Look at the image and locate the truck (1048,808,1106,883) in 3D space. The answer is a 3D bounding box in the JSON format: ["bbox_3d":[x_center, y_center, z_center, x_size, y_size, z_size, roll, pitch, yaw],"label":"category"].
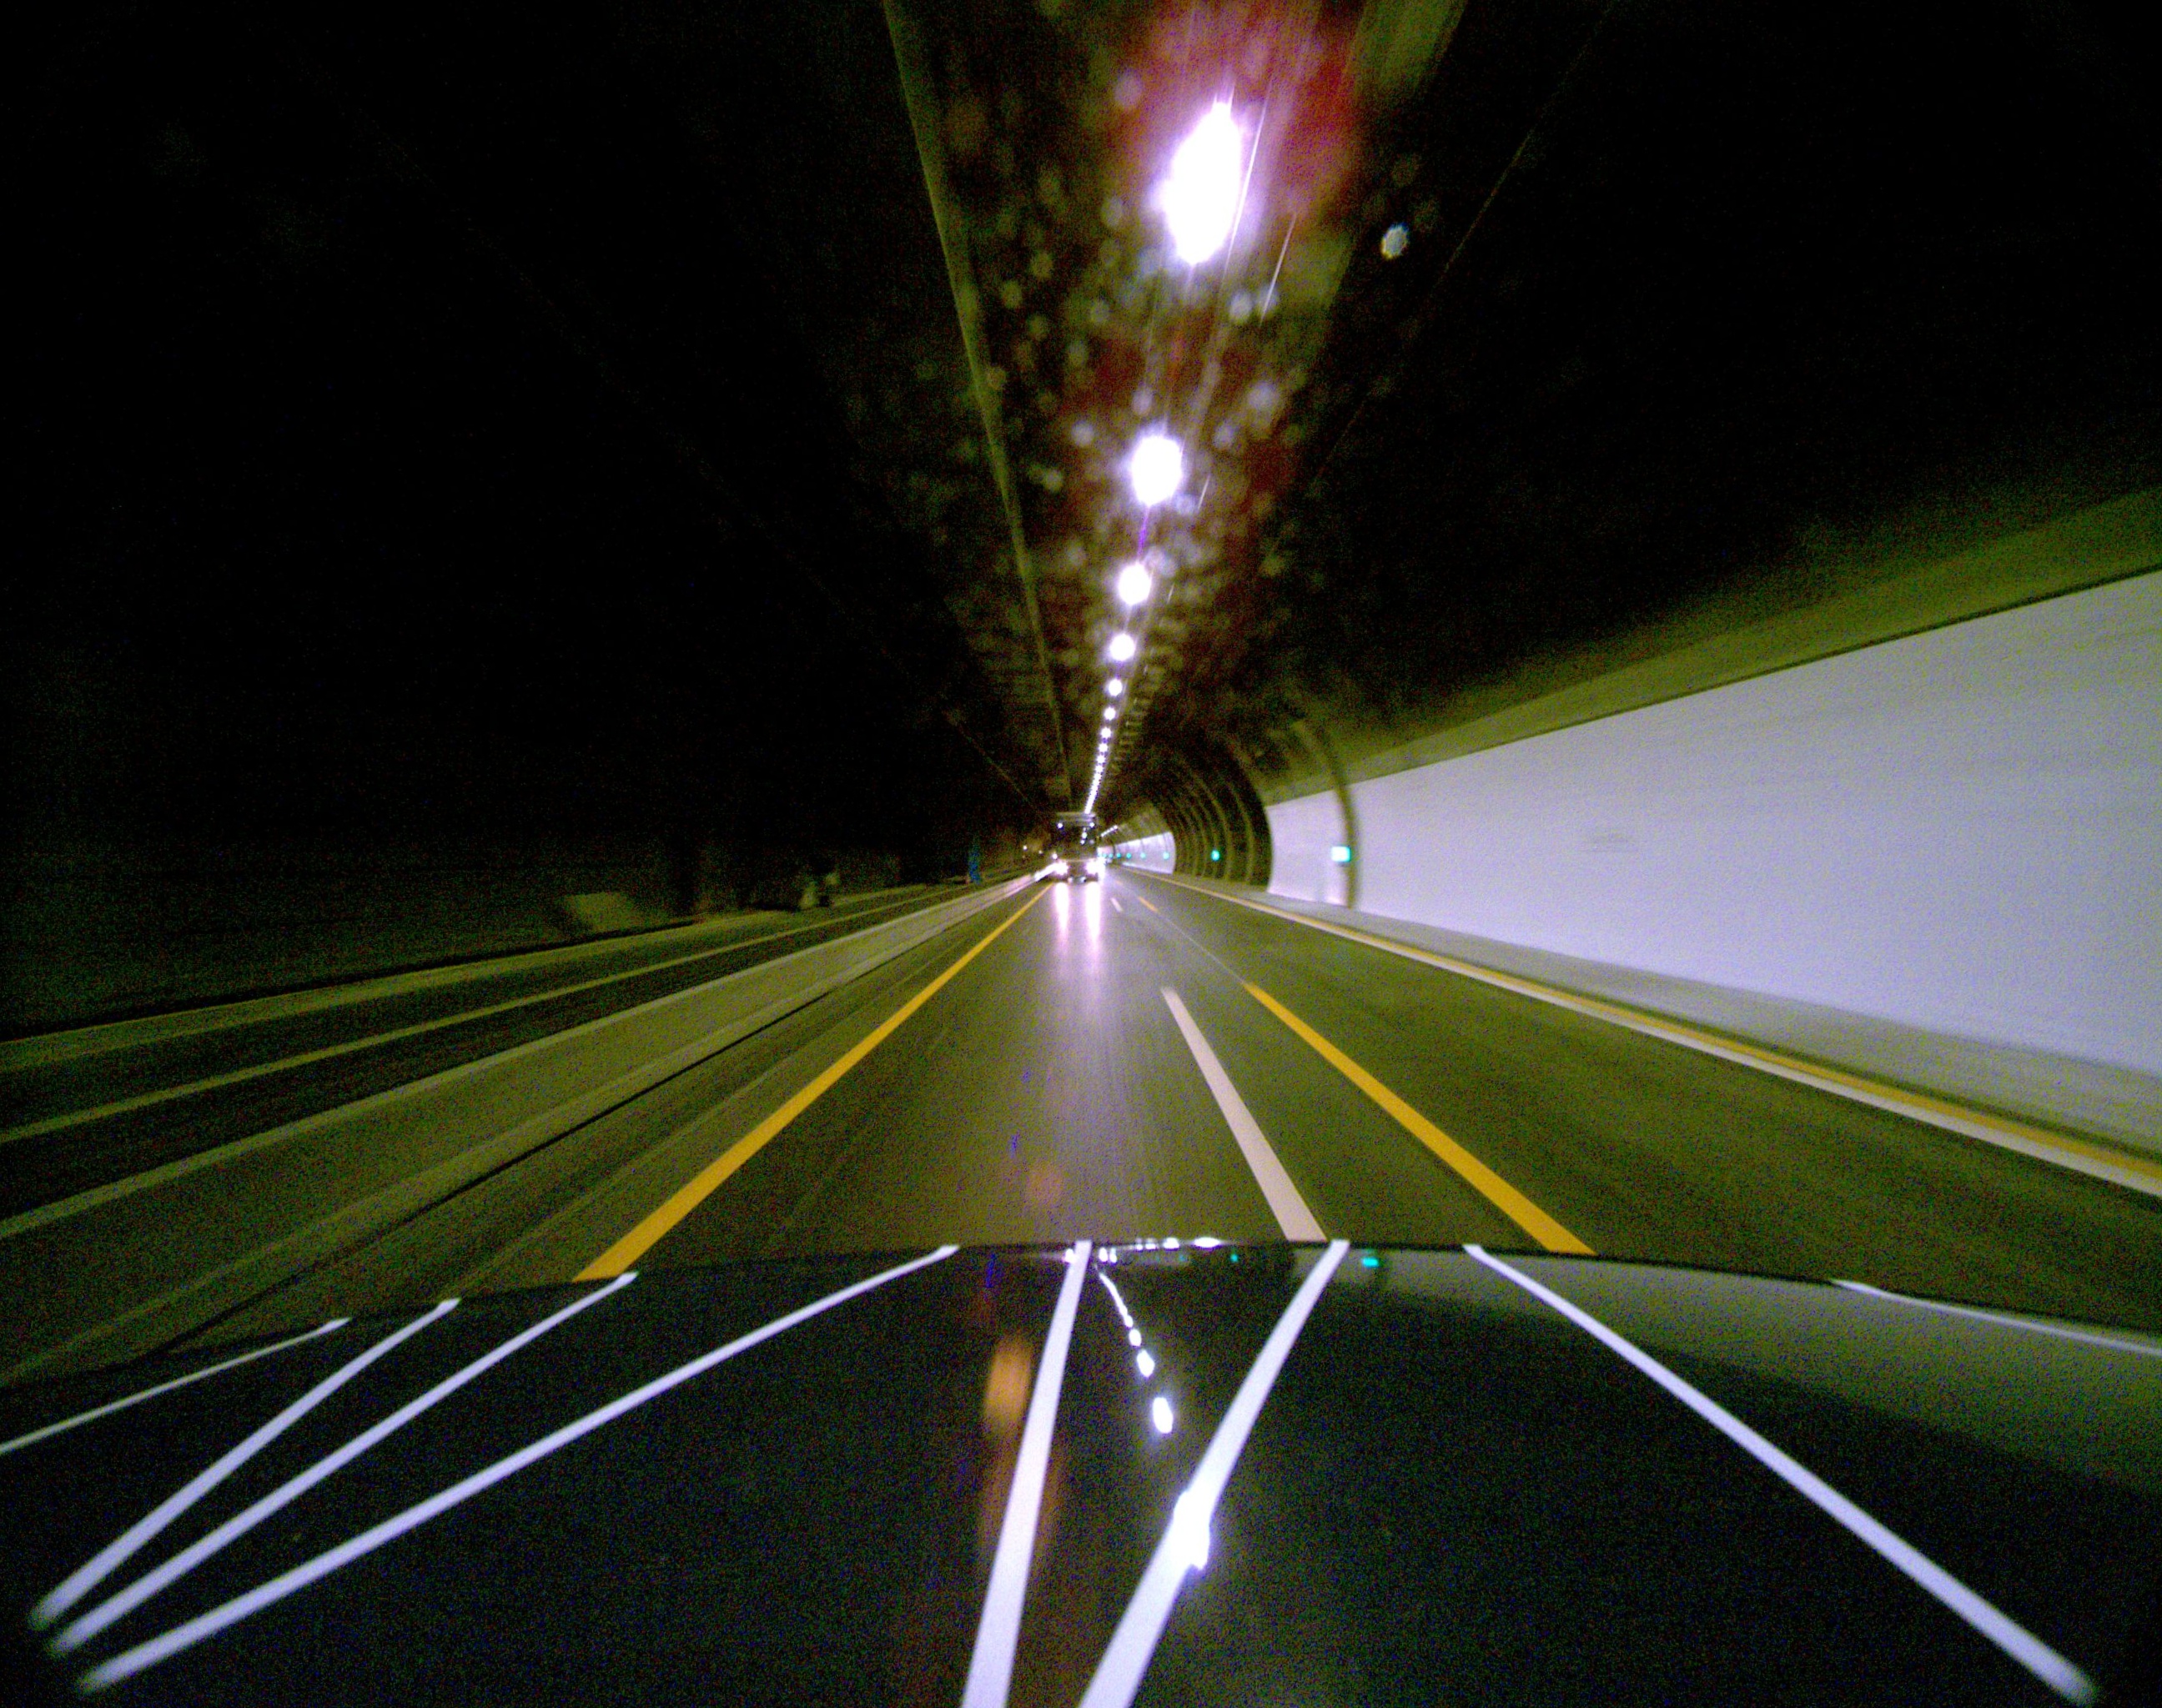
[{"bbox_3d":[-0.045,-0.549,49.362,2.953,4.241,11.053,-2,1,3],"label":"truck"}]

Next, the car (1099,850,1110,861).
[{"bbox_3d":[3.604,0.227,115.613,1.662,1.586,3.996,-2,1,3],"label":"car"}]
